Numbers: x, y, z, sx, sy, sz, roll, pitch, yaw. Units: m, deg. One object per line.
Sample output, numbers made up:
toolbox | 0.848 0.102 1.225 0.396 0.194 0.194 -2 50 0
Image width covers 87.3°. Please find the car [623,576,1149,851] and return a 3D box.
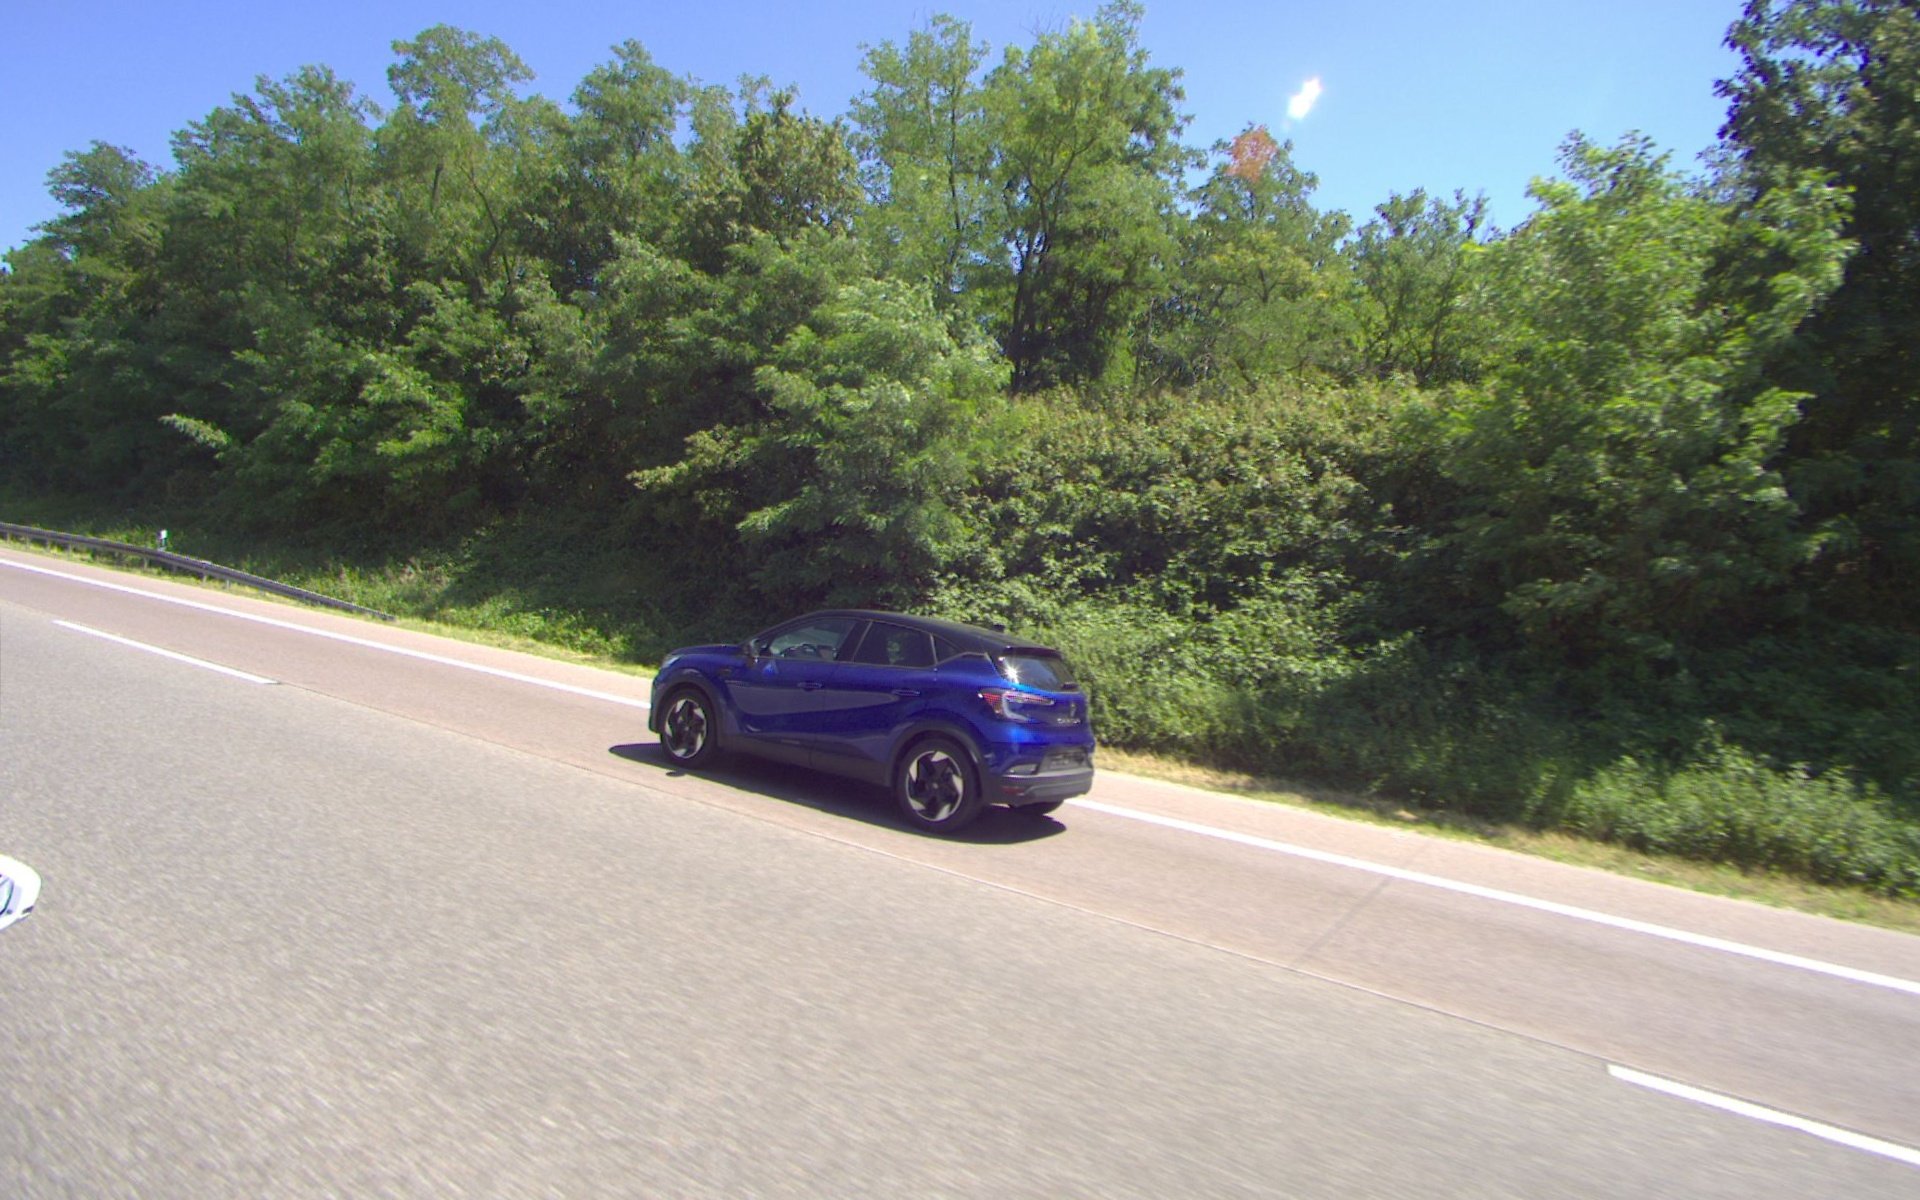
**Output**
car | -0.720 0.848 8.787 4.132 1.574 1.874 6 -2 32
